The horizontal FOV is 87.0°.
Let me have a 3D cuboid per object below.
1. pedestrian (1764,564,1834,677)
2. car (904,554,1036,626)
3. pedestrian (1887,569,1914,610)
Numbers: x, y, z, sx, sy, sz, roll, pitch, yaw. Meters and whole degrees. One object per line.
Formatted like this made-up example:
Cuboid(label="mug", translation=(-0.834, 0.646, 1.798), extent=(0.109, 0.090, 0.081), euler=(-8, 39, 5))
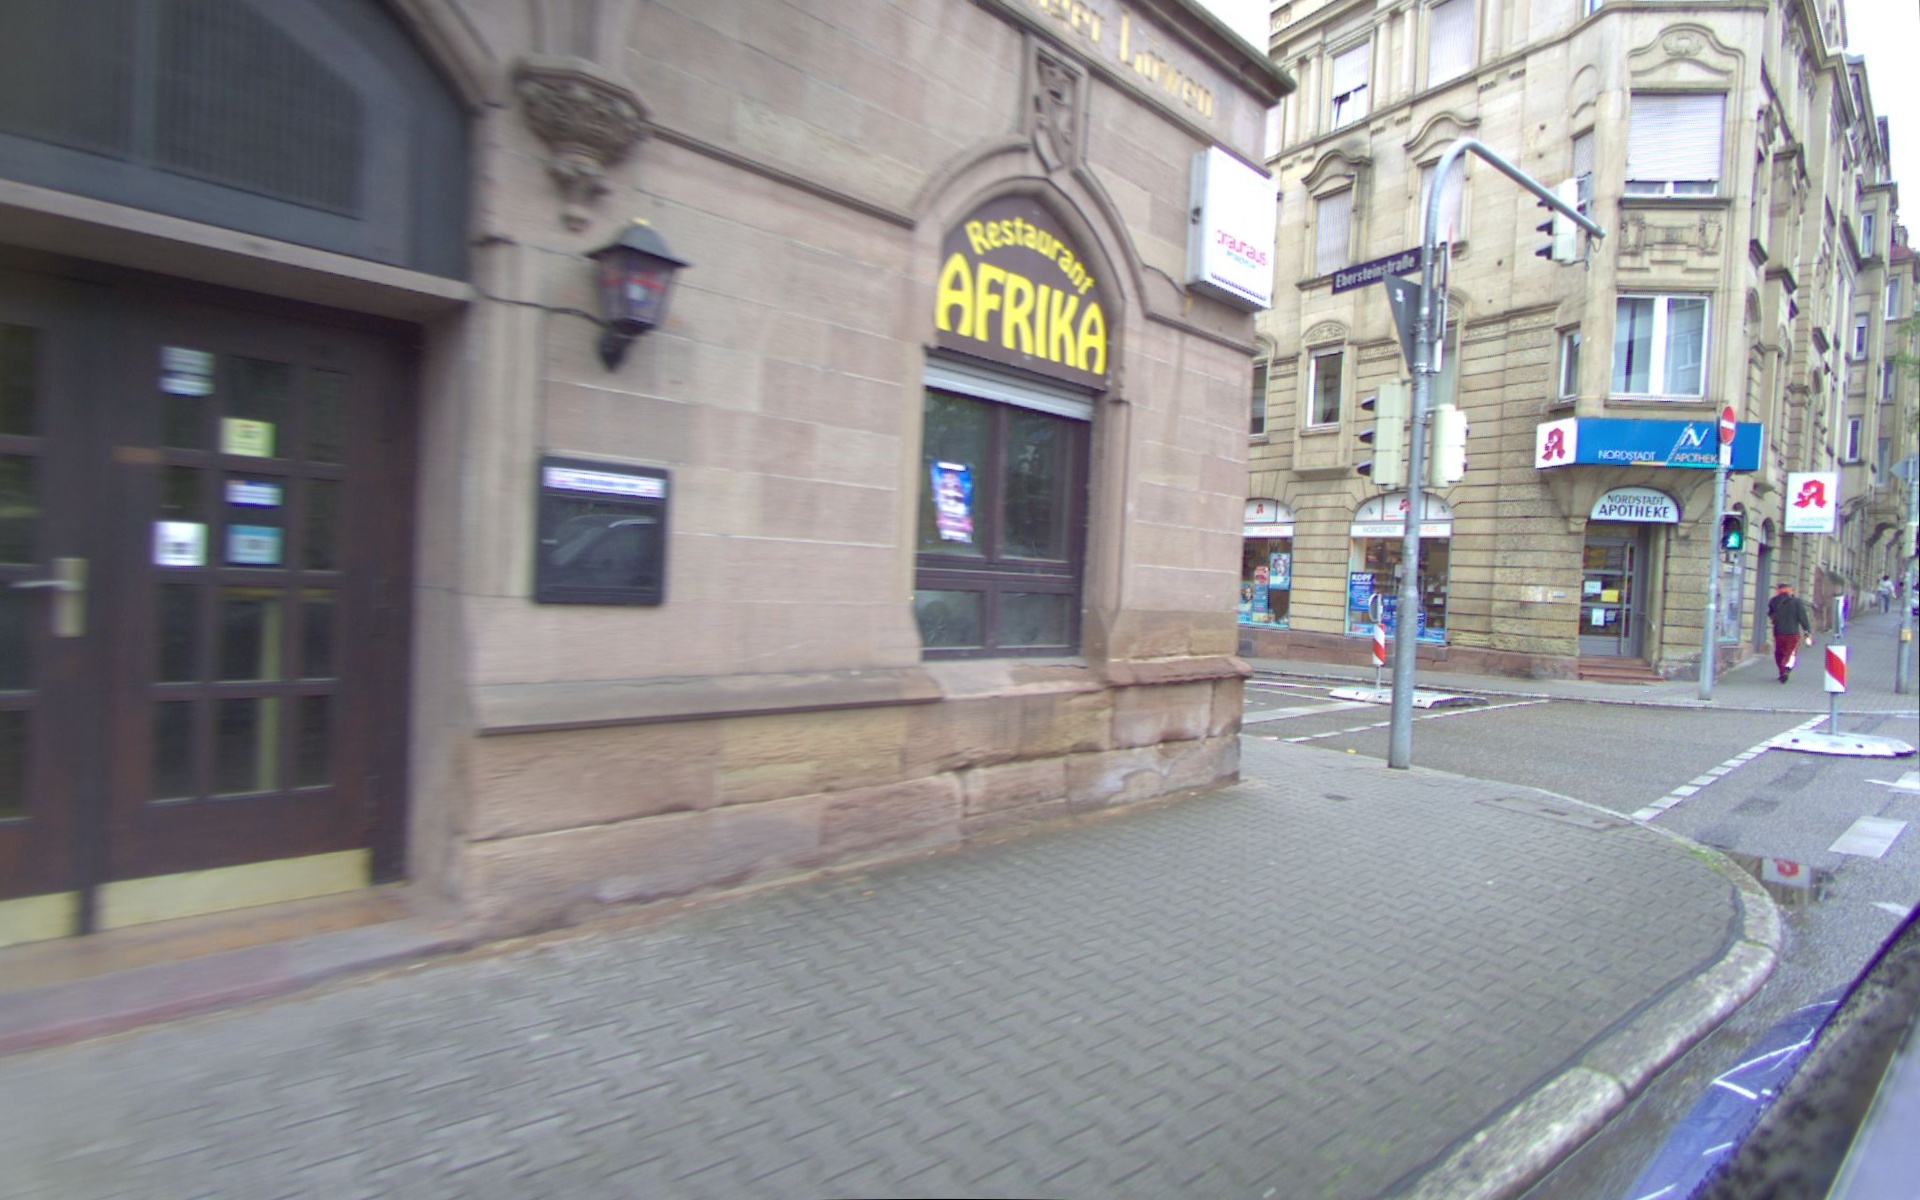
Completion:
Cuboid(label="pedestrian", translation=(15.355, 0.347, 18.522), extent=(1.070, 1.973, 0.700), euler=(-2, 3, -36))
Cuboid(label="car", translation=(0.210, -0.293, 29.316), extent=(1.806, 1.924, 4.180), euler=(1, 0, -33))
Cuboid(label="pedestrian", translation=(37.383, -0.436, 40.222), extent=(0.680, 1.513, 0.644), euler=(-6, 9, -44))
